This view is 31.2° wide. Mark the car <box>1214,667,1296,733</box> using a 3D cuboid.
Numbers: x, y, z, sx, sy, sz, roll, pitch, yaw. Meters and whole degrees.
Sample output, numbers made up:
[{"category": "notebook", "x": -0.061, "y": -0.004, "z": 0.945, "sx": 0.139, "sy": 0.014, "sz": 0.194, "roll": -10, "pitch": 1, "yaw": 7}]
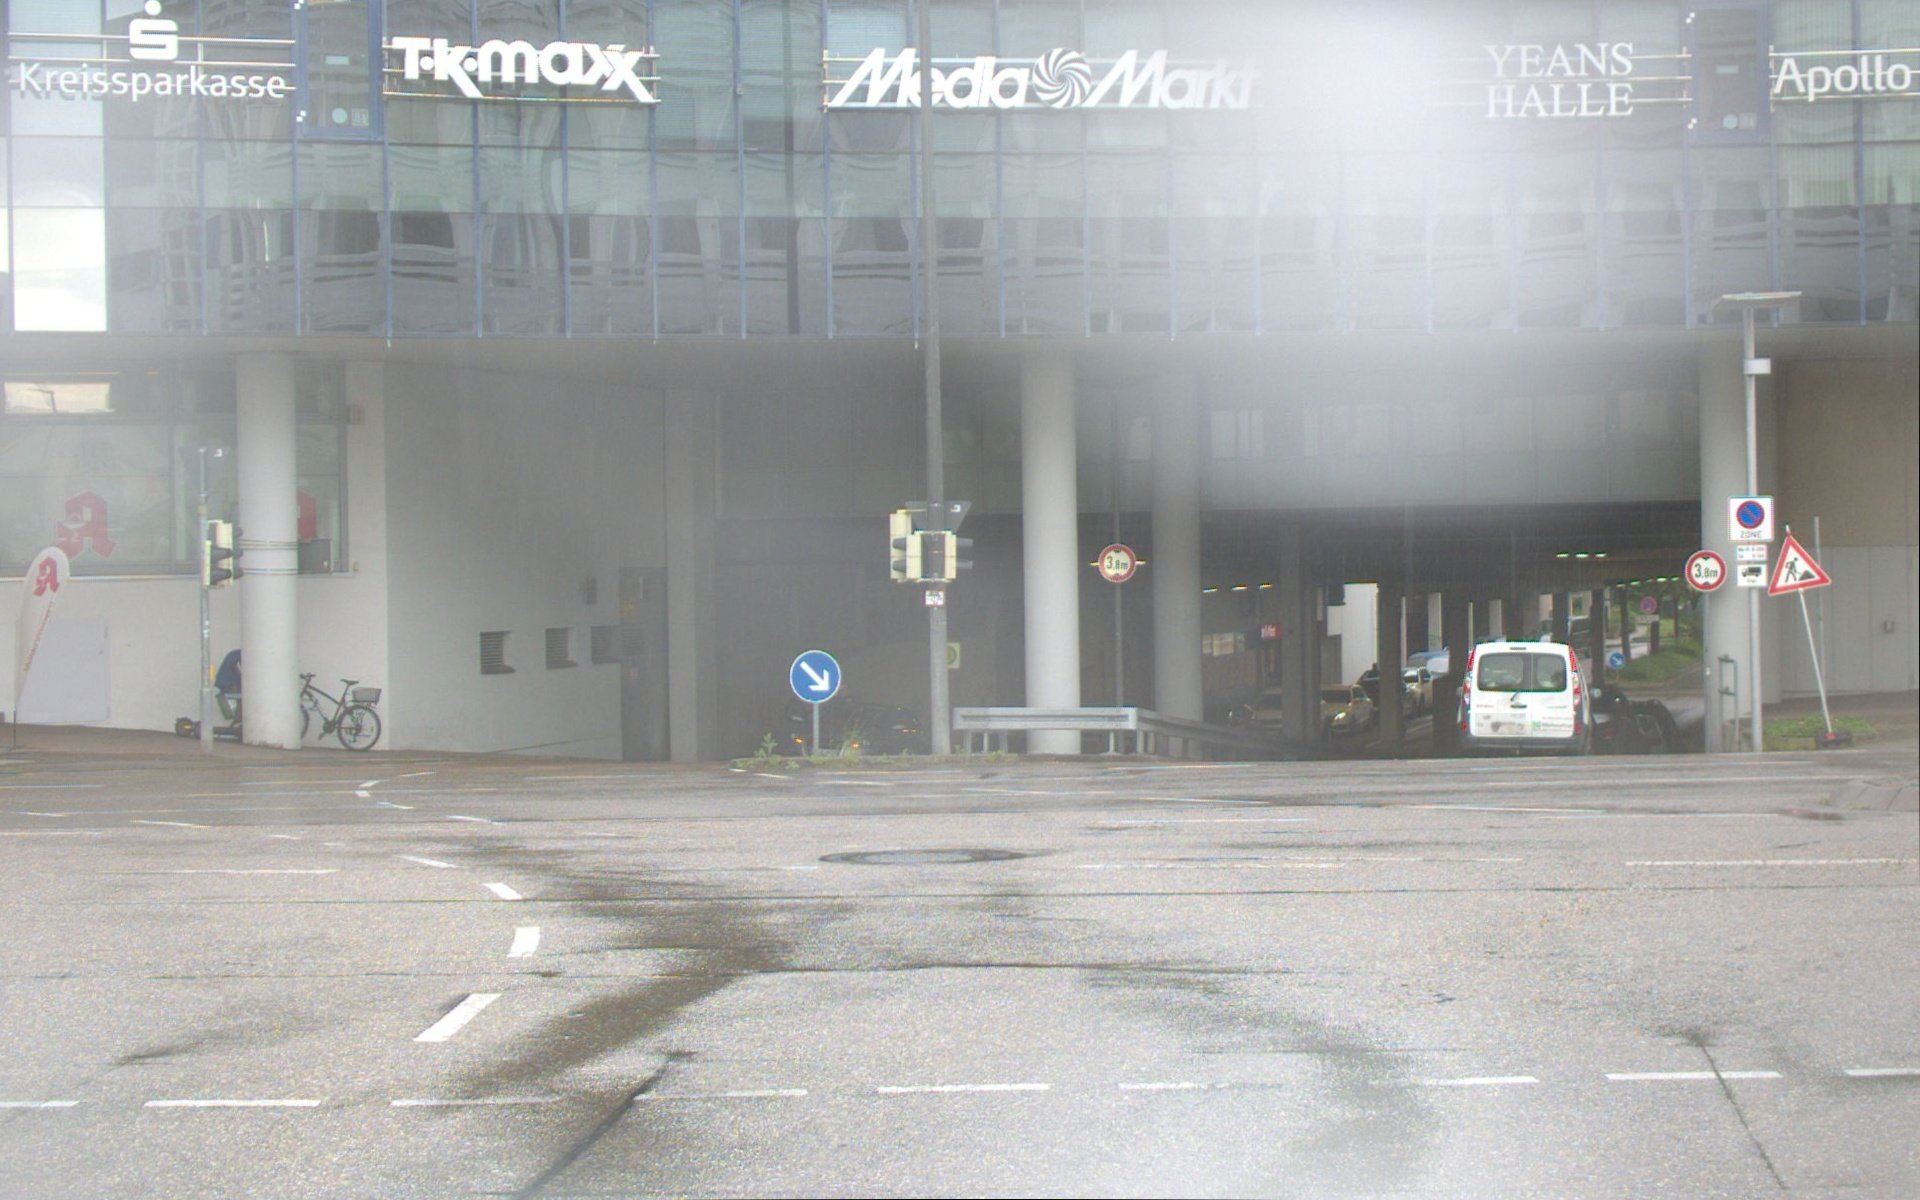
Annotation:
[{"category": "car", "x": 8.290, "y": 2.795, "z": 96.478, "sx": 1.837, "sy": 1.722, "sz": 3.998, "roll": -1, "pitch": 0, "yaw": 11}]

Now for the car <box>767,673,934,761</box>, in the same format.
[{"category": "car", "x": -1.960, "y": 2.167, "z": 63.093, "sx": 1.894, "sy": 1.465, "sz": 4.023, "roll": -1, "pitch": -4, "yaw": 16}]

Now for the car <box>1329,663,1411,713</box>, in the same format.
[{"category": "car", "x": 13.115, "y": 2.808, "z": 109.883, "sx": 1.995, "sy": 1.459, "sz": 3.997, "roll": -1, "pitch": 0, "yaw": 16}]

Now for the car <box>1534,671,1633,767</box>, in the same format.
[{"category": "car", "x": 11.161, "y": 2.135, "z": 61.389, "sx": 1.633, "sy": 1.606, "sz": 4.260, "roll": -2, "pitch": -3, "yaw": 11}]

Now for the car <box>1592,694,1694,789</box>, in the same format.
[{"category": "car", "x": 14.130, "y": 2.897, "z": 70.971, "sx": 1.792, "sy": 1.764, "sz": 3.997, "roll": -1, "pitch": 0, "yaw": 15}]

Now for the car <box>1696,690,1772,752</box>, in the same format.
[{"category": "car", "x": 20.558, "y": 3.184, "z": 91.233, "sx": 1.889, "sy": 1.486, "sz": 3.838, "roll": 1, "pitch": 0, "yaw": 14}]

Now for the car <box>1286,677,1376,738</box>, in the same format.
[{"category": "car", "x": 11.061, "y": 3.184, "z": 102.254, "sx": 1.995, "sy": 1.658, "sz": 3.997, "roll": 1, "pitch": 0, "yaw": 16}]

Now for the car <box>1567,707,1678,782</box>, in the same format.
[{"category": "car", "x": 12.860, "y": 2.815, "z": 66.575, "sx": 1.781, "sy": 1.396, "sz": 3.996, "roll": -1, "pitch": -3, "yaw": 15}]

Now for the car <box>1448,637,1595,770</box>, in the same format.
[{"category": "car", "x": 8.043, "y": 1.460, "z": 49.017, "sx": 1.926, "sy": 1.791, "sz": 4.294, "roll": -1, "pitch": -1, "yaw": 11}]

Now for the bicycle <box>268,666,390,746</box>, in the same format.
[{"category": "bicycle", "x": -9.028, "y": 1.516, "z": 49.195, "sx": 1.581, "sy": 1.014, "sz": 0.452, "roll": 6, "pitch": -2, "yaw": -30}]

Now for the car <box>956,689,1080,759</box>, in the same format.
[{"category": "car", "x": 1.288, "y": 2.692, "z": 74.850, "sx": 1.772, "sy": 1.459, "sz": 3.872, "roll": -1, "pitch": -2, "yaw": 16}]

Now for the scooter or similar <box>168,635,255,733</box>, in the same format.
[{"category": "scooter or similar", "x": -10.598, "y": 1.186, "z": 48.682, "sx": 1.166, "sy": 1.368, "sz": 0.489, "roll": 1, "pitch": 0, "yaw": -15}]
